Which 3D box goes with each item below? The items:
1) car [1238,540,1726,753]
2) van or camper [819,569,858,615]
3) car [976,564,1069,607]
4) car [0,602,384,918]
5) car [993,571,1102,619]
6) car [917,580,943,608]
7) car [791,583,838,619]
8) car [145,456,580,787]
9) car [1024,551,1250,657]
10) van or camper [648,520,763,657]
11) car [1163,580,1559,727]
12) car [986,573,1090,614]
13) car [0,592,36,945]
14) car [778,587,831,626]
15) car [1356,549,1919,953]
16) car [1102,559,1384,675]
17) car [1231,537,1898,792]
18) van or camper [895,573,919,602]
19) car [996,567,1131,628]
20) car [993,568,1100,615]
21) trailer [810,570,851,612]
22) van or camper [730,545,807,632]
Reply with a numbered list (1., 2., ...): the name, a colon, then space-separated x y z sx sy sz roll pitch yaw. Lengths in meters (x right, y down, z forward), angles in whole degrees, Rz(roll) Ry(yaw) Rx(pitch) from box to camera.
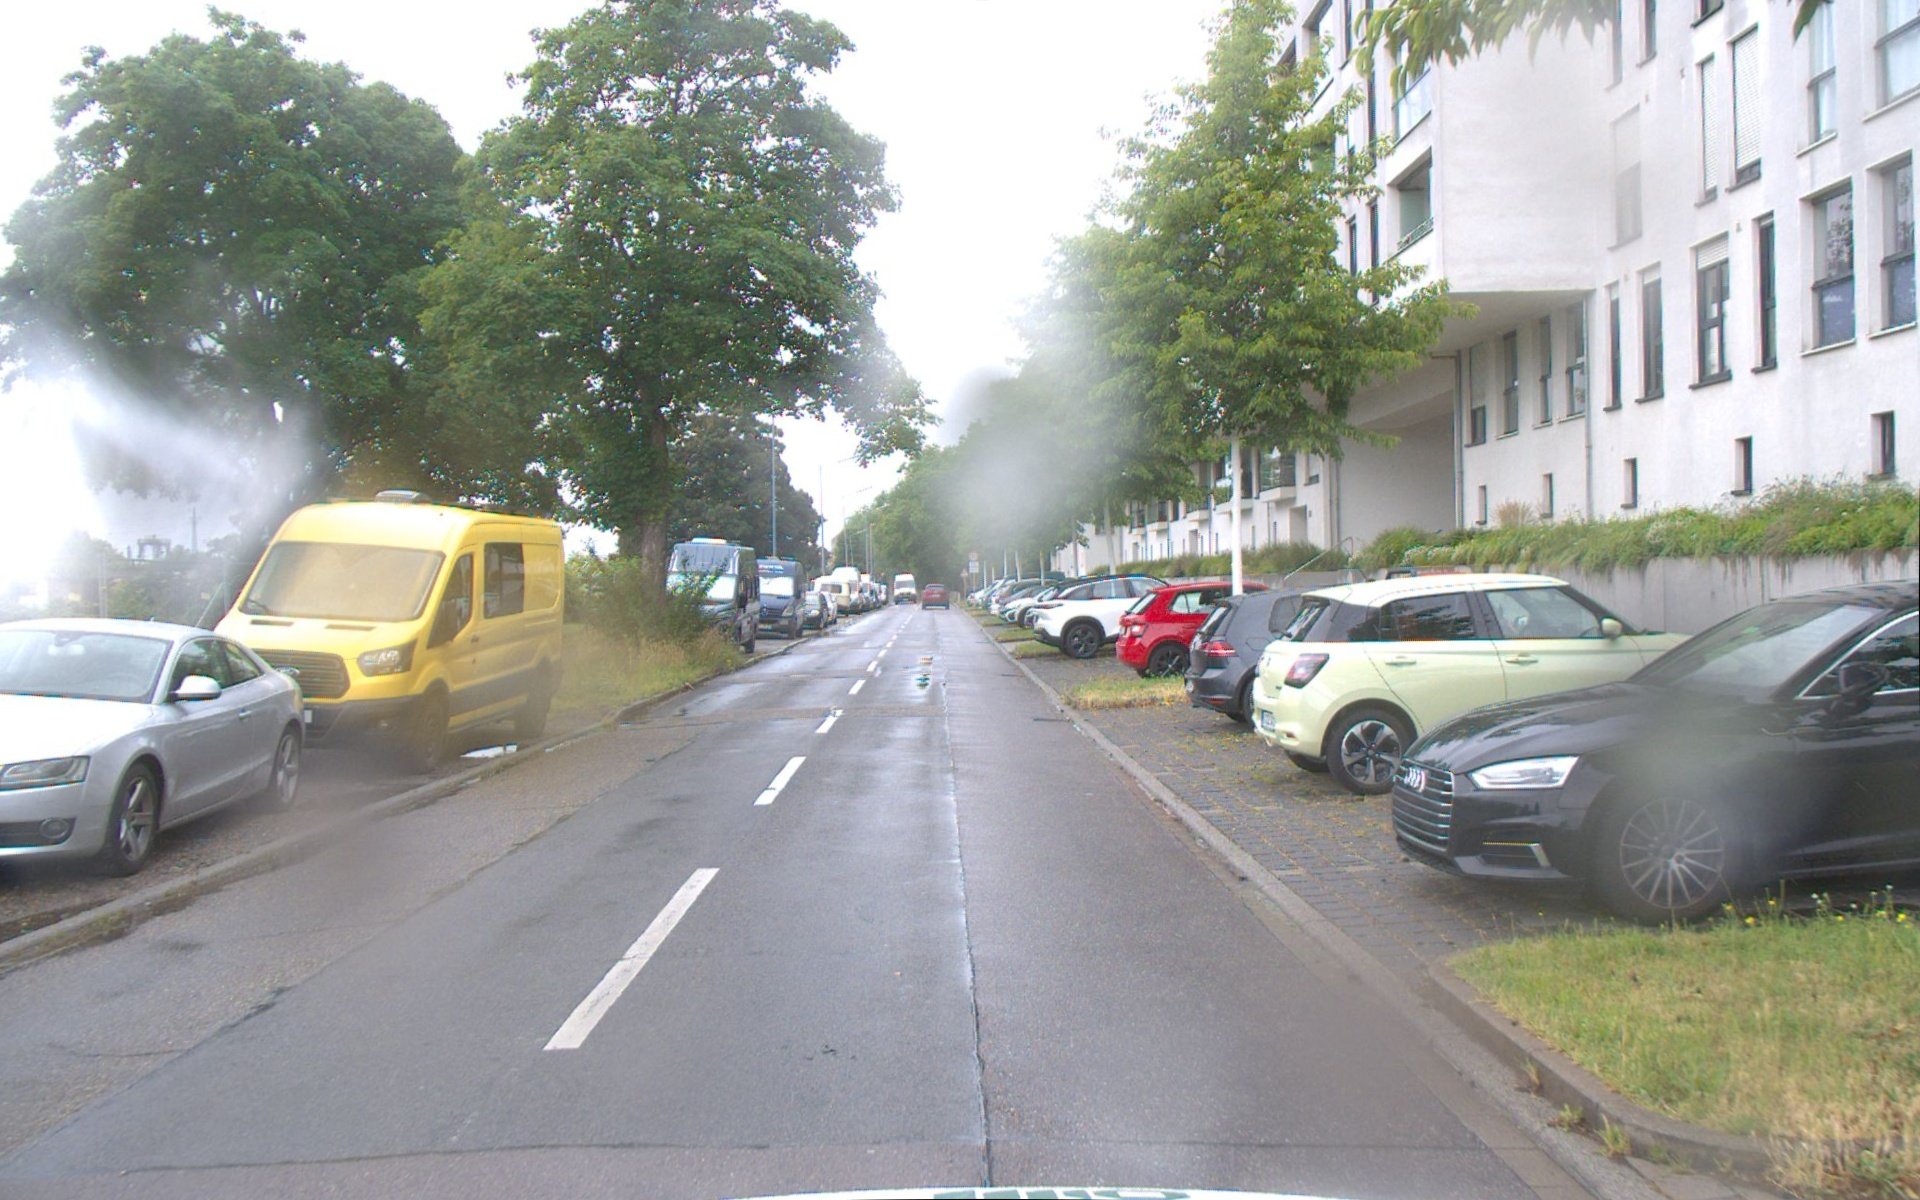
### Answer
1. car: 4.703 0.396 15.262 3.907 1.582 1.634 -4 0 -1
2. van or camper: -7.709 -0.504 105.478 1.953 2.810 7.897 0 0 -1
3. car: 3.160 -0.760 84.620 4.528 2.055 1.856 -2 0 -5
4. car: -5.595 0.776 10.656 1.969 1.459 5.338 2 0 -1
5. car: 3.244 -0.192 62.034 3.907 1.536 1.684 -3 1 -2
6. car: -2.001 -0.421 111.366 1.720 1.735 4.000 -2 1 -1
7. car: -6.631 0.008 75.789 1.849 1.552 5.108 1 0 -2
8. car: -5.730 0.154 16.975 2.146 2.741 6.082 1 0 1
9. car: 3.743 0.080 35.526 4.452 1.714 1.884 -6 1 -4
10. van or camper: -6.277 -0.266 41.566 2.052 3.148 6.421 1 0 -2
11. car: 4.258 0.543 17.895 3.877 1.500 1.591 0 0 -3
12. car: 3.258 -0.278 69.564 4.214 1.453 1.636 -3 0 -3
13. car: -5.310 0.762 5.327 1.953 1.622 5.015 1 0 -2
14. car: -6.442 0.246 68.933 1.737 1.529 4.827 1 0 0
15. car: 4.392 0.549 7.887 4.479 1.523 1.825 -4 0 -2
16. car: 4.268 0.260 25.351 3.907 1.476 1.820 -4 -1 -2
17. car: 4.449 0.449 12.609 4.397 1.507 1.692 -4 0 -1
18. van or camper: -4.874 -1.187 152.381 1.953 2.540 7.178 -2 0 0
19. car: 3.532 -0.118 57.239 4.388 1.716 1.935 -5 1 -3
20. car: 3.479 -0.362 67.226 4.080 1.652 1.896 -3 0 -4
21. trailer: -7.146 -0.528 91.629 2.017 2.256 5.792 0 1 -2
22. van or camper: -6.522 -0.373 57.195 2.052 2.763 7.570 1 0 -2
